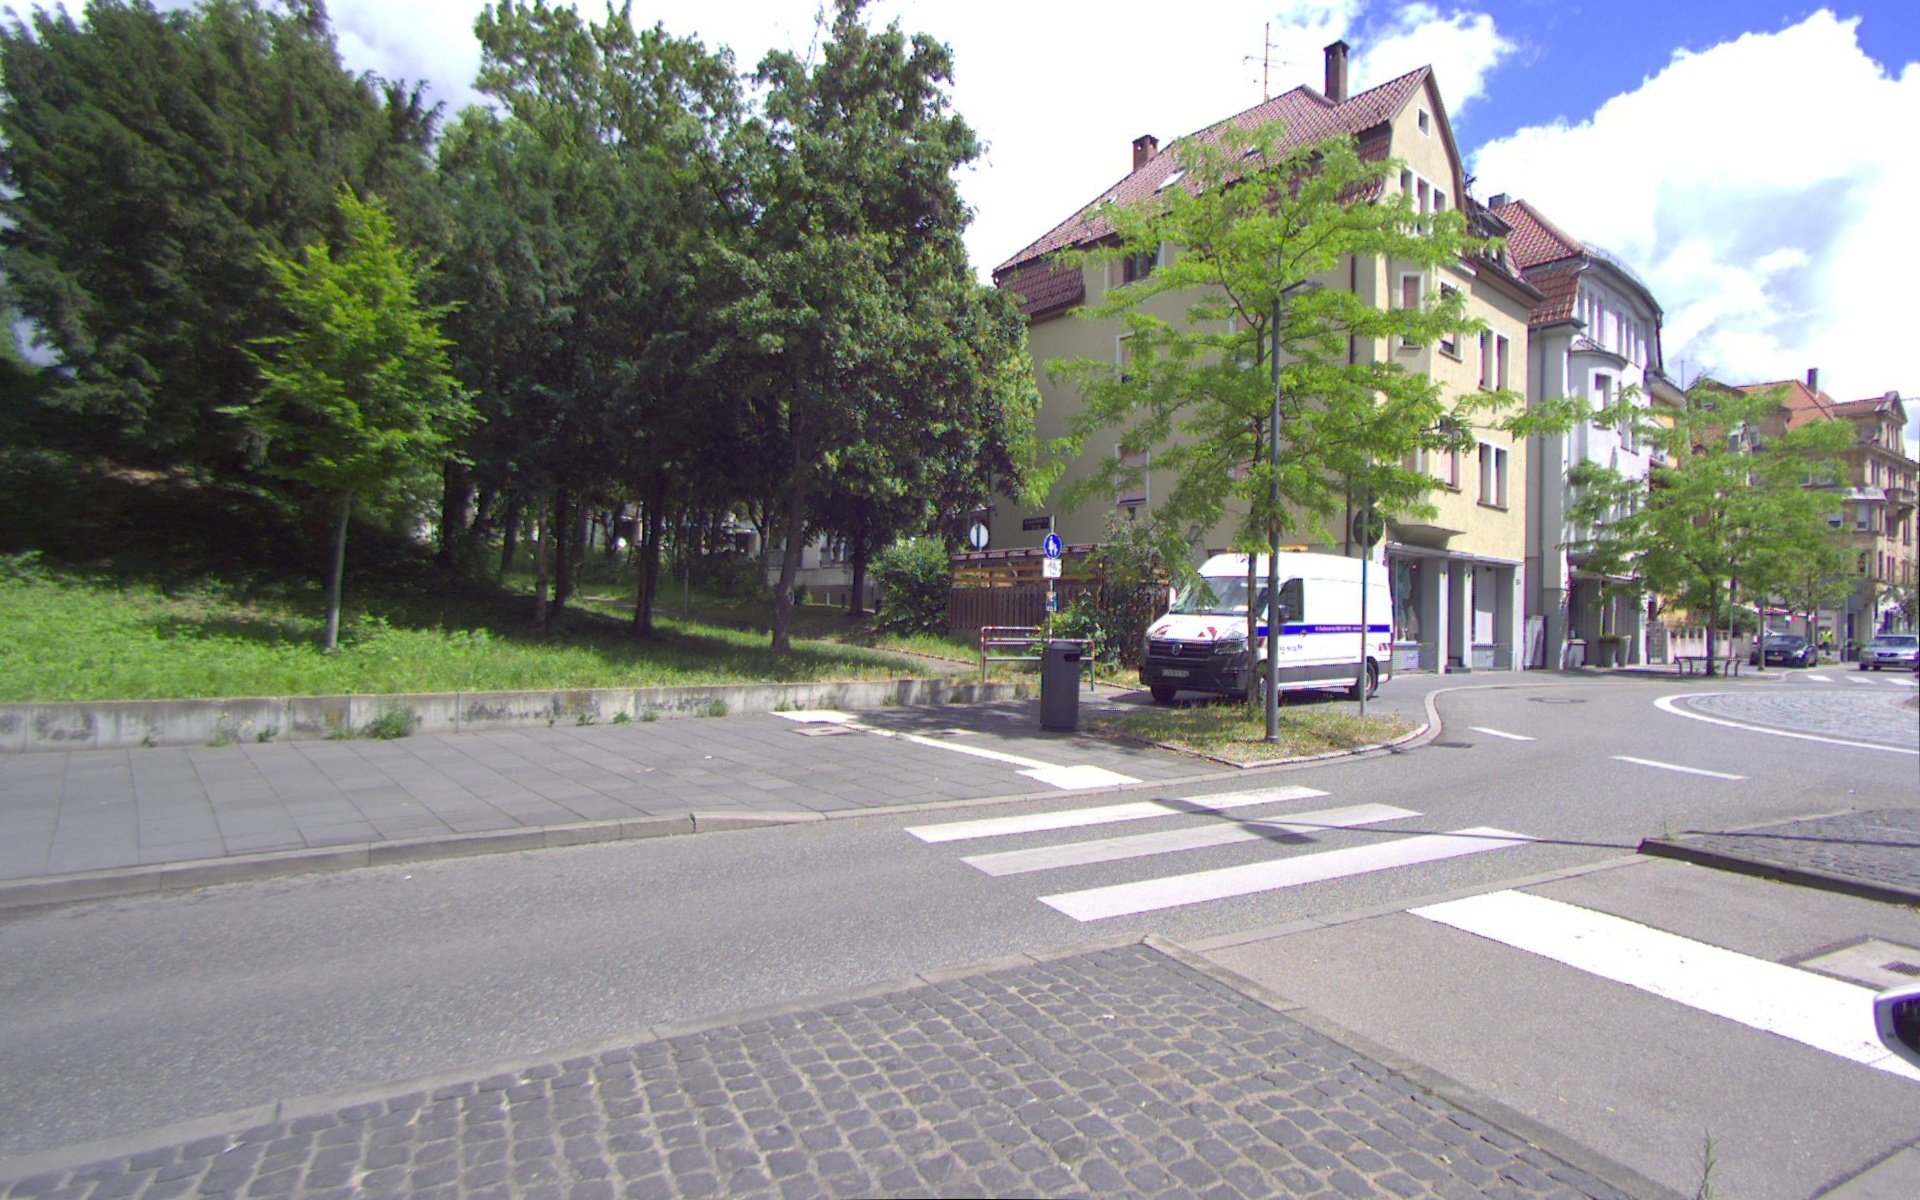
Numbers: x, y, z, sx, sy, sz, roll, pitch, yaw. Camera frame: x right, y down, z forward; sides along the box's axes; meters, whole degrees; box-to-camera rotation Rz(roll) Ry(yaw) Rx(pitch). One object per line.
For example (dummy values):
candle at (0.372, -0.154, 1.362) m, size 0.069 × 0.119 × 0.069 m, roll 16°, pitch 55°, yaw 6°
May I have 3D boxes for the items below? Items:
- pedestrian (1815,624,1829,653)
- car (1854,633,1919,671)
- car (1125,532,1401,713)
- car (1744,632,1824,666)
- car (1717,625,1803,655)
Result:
pedestrian at (51.219, 2.278, 59.702) m, size 0.512 × 1.708 × 0.546 m, roll 1°, pitch 0°, yaw -43°
car at (37.065, 2.037, 40.126) m, size 3.972 × 1.372 × 1.693 m, roll 1°, pitch 0°, yaw -44°
car at (5.450, 0.361, 17.432) m, size 5.891 × 2.641 × 1.948 m, roll 2°, pitch 0°, yaw -45°
car at (34.108, 2.003, 41.567) m, size 4.373 × 1.262 × 1.696 m, roll 1°, pitch 0°, yaw -39°
car at (53.400, 2.628, 67.181) m, size 4.359 × 1.799 × 1.994 m, roll 1°, pitch -1°, yaw 35°
